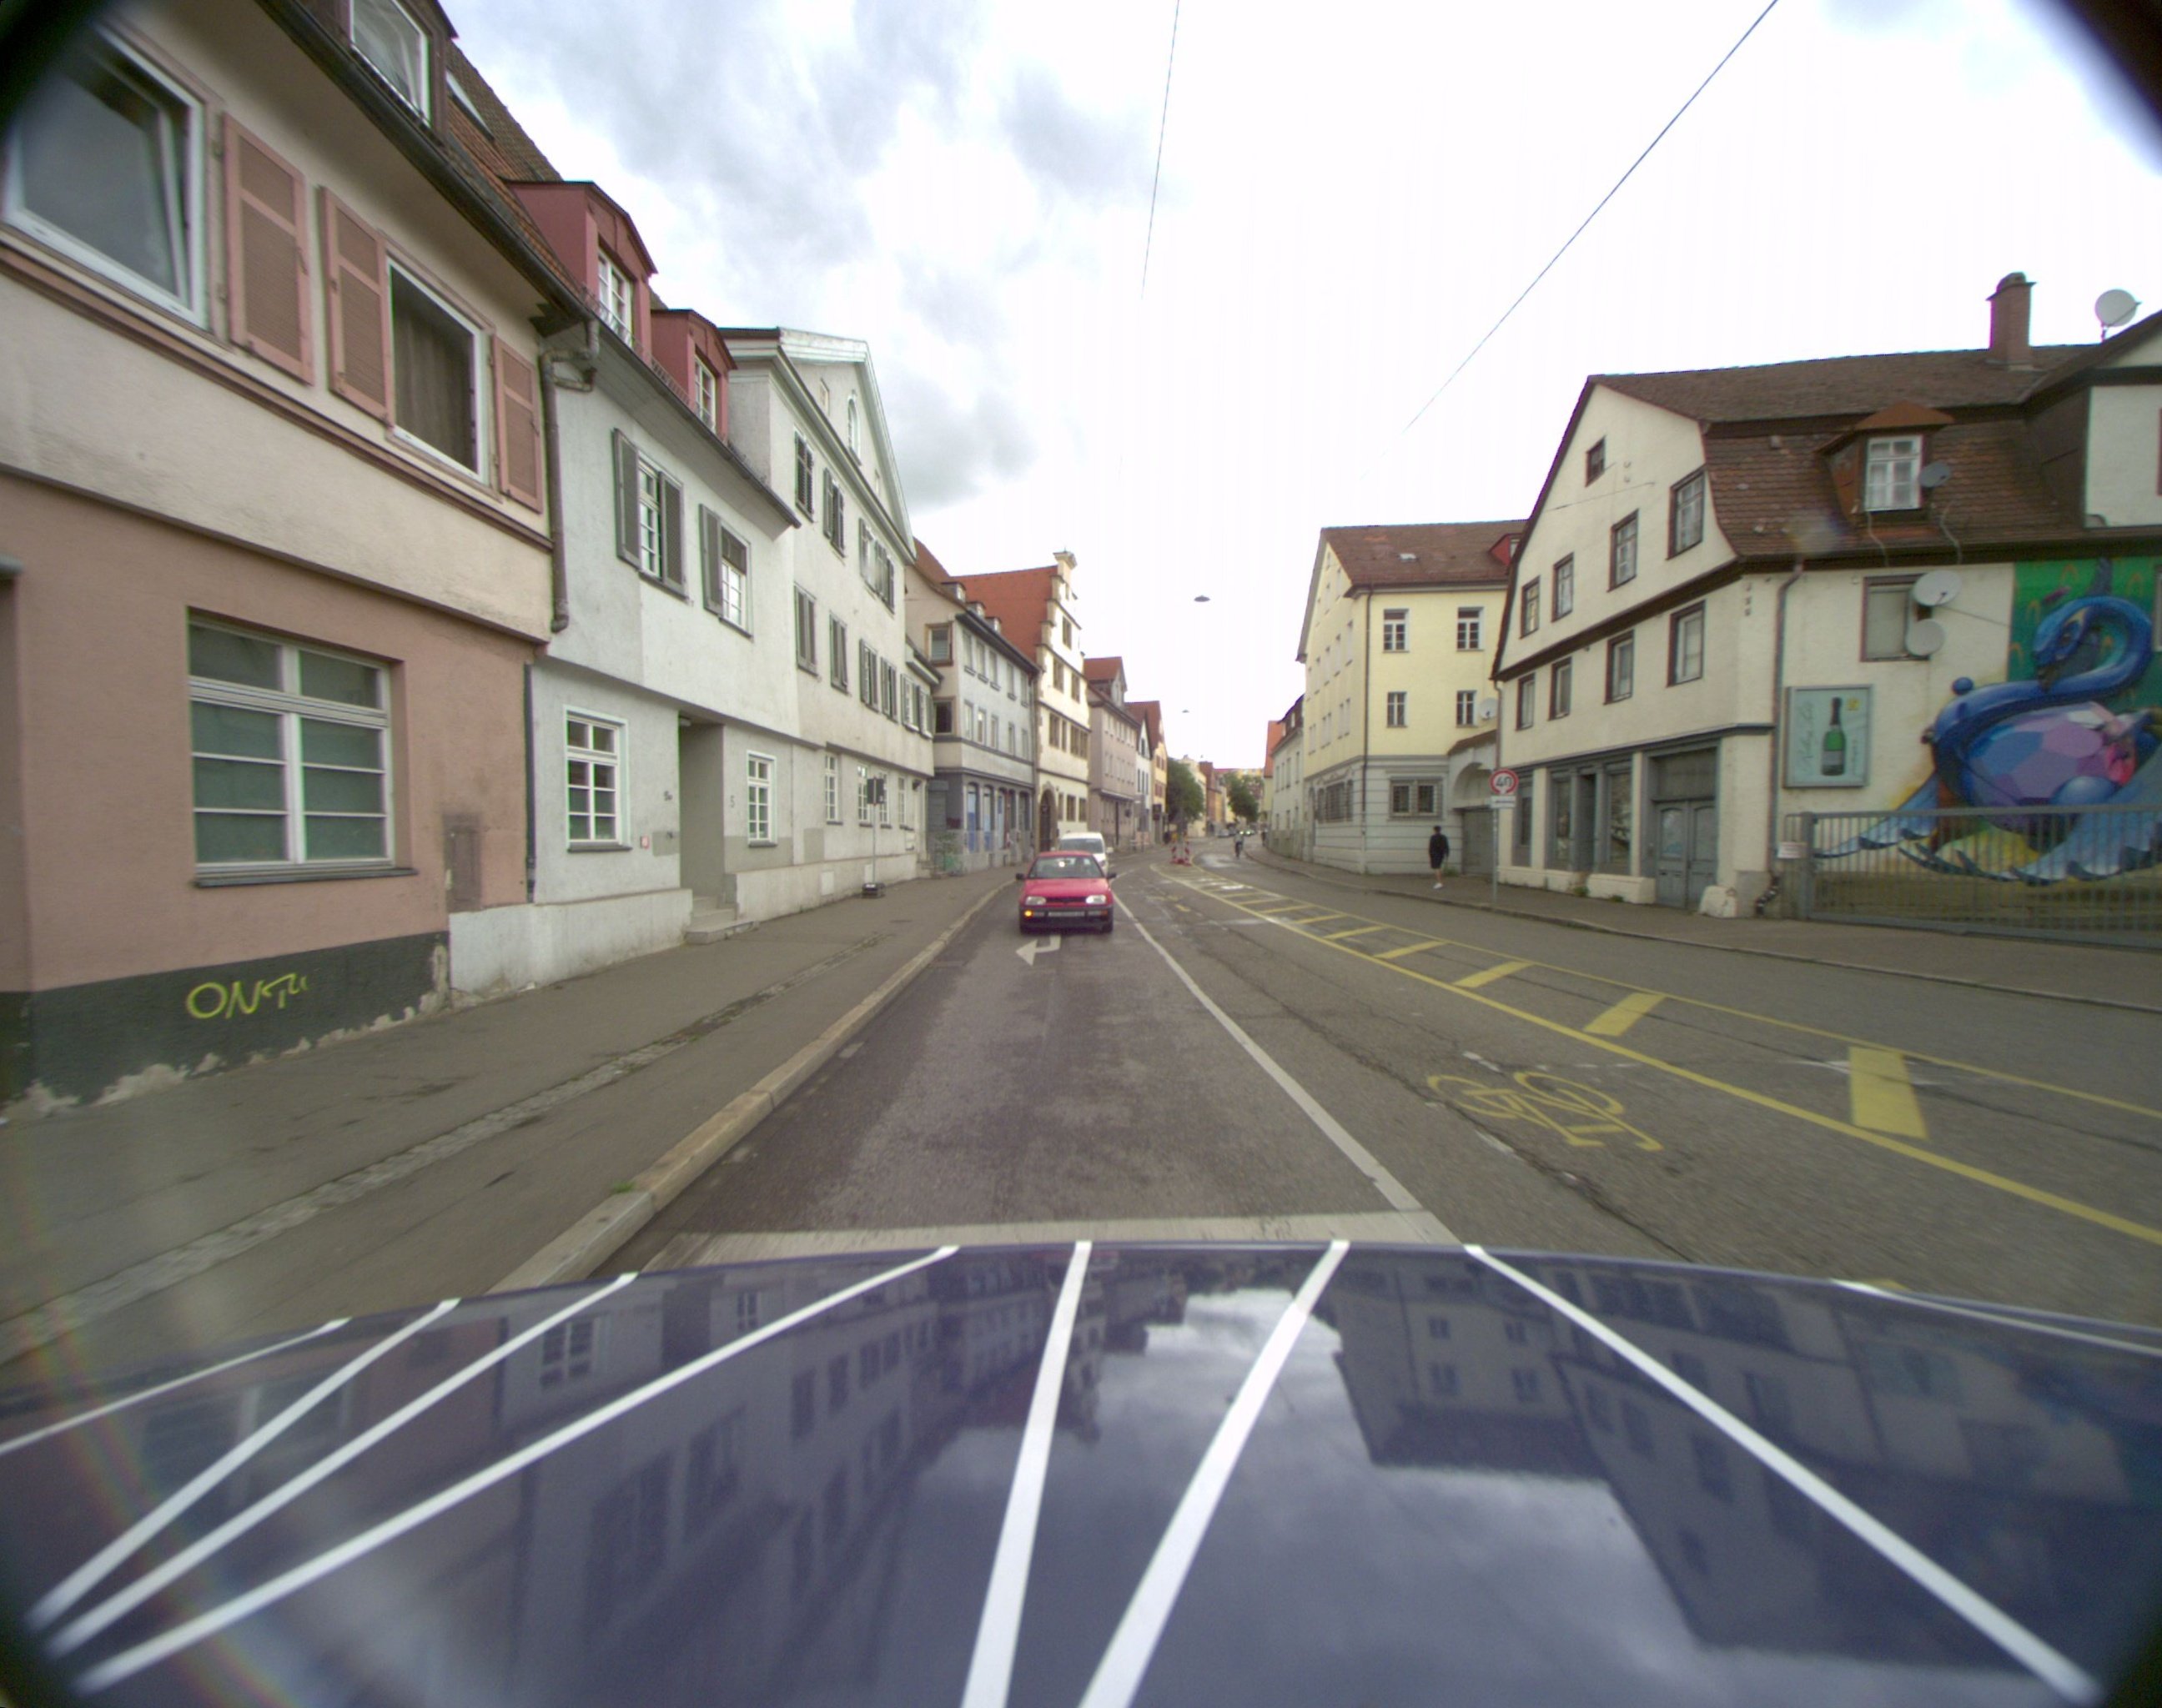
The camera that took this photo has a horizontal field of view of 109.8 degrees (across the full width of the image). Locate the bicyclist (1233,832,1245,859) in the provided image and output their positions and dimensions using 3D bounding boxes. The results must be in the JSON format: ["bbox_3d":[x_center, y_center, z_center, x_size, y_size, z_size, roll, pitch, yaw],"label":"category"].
[{"bbox_3d":[10.090,-0.528,48.432,0.724,1.691,0.811,0,2,9],"label":"bicyclist"}]

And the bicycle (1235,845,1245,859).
[{"bbox_3d":[10.155,-0.126,48.490,0.542,0.887,1.881,0,1,10],"label":"bicycle"}]

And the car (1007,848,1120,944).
[{"bbox_3d":[-0.268,0.691,14.651,1.804,1.458,3.999,-3,1,1],"label":"car"}]

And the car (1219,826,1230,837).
[{"bbox_3d":[27.825,-4.359,147.163,1.996,2.002,4.003,0,1,12],"label":"car"}]

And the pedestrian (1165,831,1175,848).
[{"bbox_3d":[10.213,-1.664,87.292,0.878,1.889,0.896,0,1,-6],"label":"pedestrian"}]

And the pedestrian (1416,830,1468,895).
[{"bbox_3d":[10.799,0.241,22.773,1.056,1.875,1.092,-1,0,3],"label":"pedestrian"}]

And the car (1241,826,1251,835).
[{"bbox_3d":[34.242,-4.850,157.385,1.996,2.002,4.003,0,1,12],"label":"car"}]

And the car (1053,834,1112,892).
[{"bbox_3d":[0.072,0.225,25.434,1.804,1.781,4.348,0,1,1],"label":"car"}]

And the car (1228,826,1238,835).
[{"bbox_3d":[33.654,-5.194,167.822,1.996,2.002,4.003,0,1,12],"label":"car"}]
